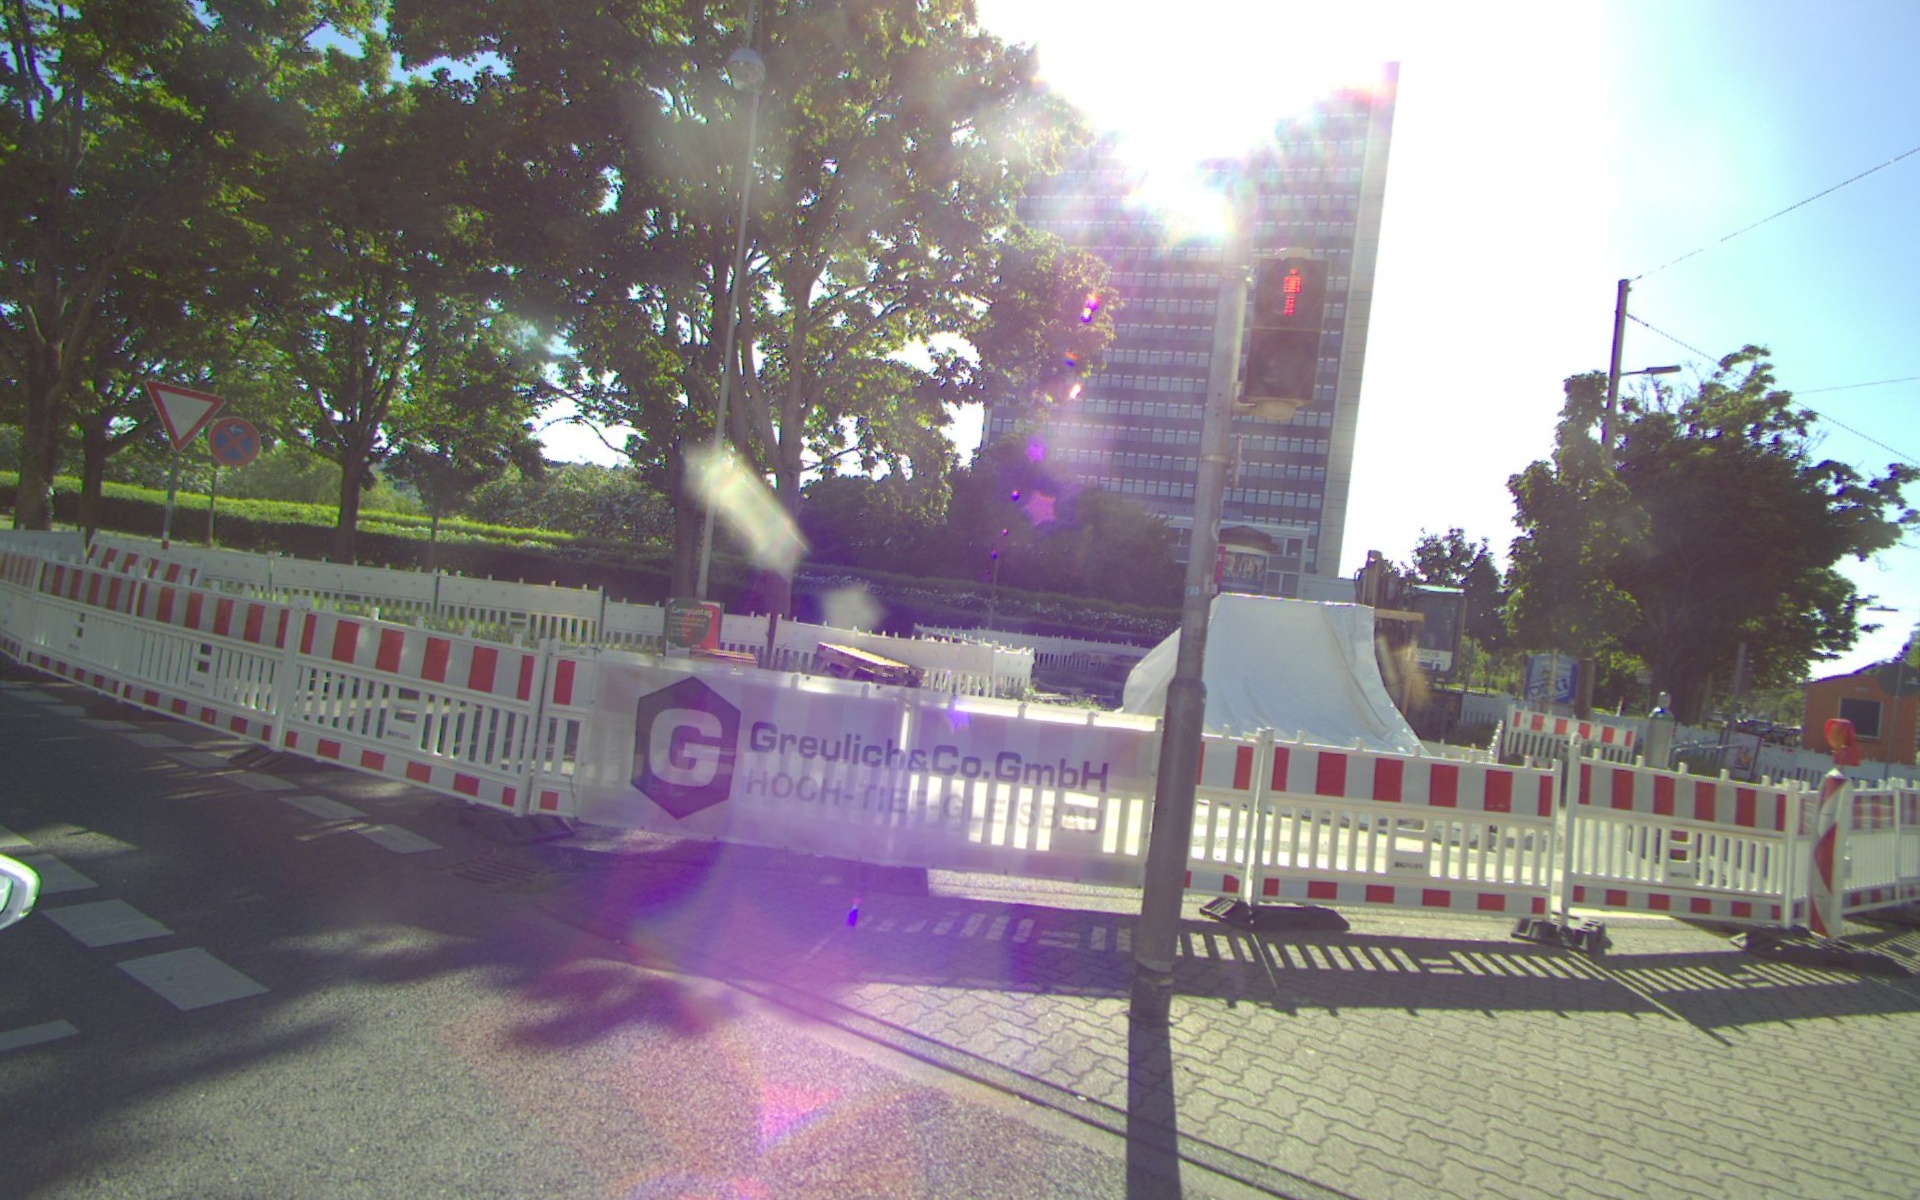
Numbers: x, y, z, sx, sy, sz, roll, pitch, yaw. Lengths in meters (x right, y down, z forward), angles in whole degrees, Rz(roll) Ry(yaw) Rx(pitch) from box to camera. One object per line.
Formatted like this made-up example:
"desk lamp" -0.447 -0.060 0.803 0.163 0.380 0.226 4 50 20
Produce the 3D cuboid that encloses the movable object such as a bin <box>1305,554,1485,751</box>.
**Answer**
"movable object such as a bin" 9.231 1.132 21.084 2.786 3.403 4.707 6 -2 28

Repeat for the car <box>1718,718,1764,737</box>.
"car" 74.813 12.213 96.438 3.284 1.303 1.301 6 -1 34
